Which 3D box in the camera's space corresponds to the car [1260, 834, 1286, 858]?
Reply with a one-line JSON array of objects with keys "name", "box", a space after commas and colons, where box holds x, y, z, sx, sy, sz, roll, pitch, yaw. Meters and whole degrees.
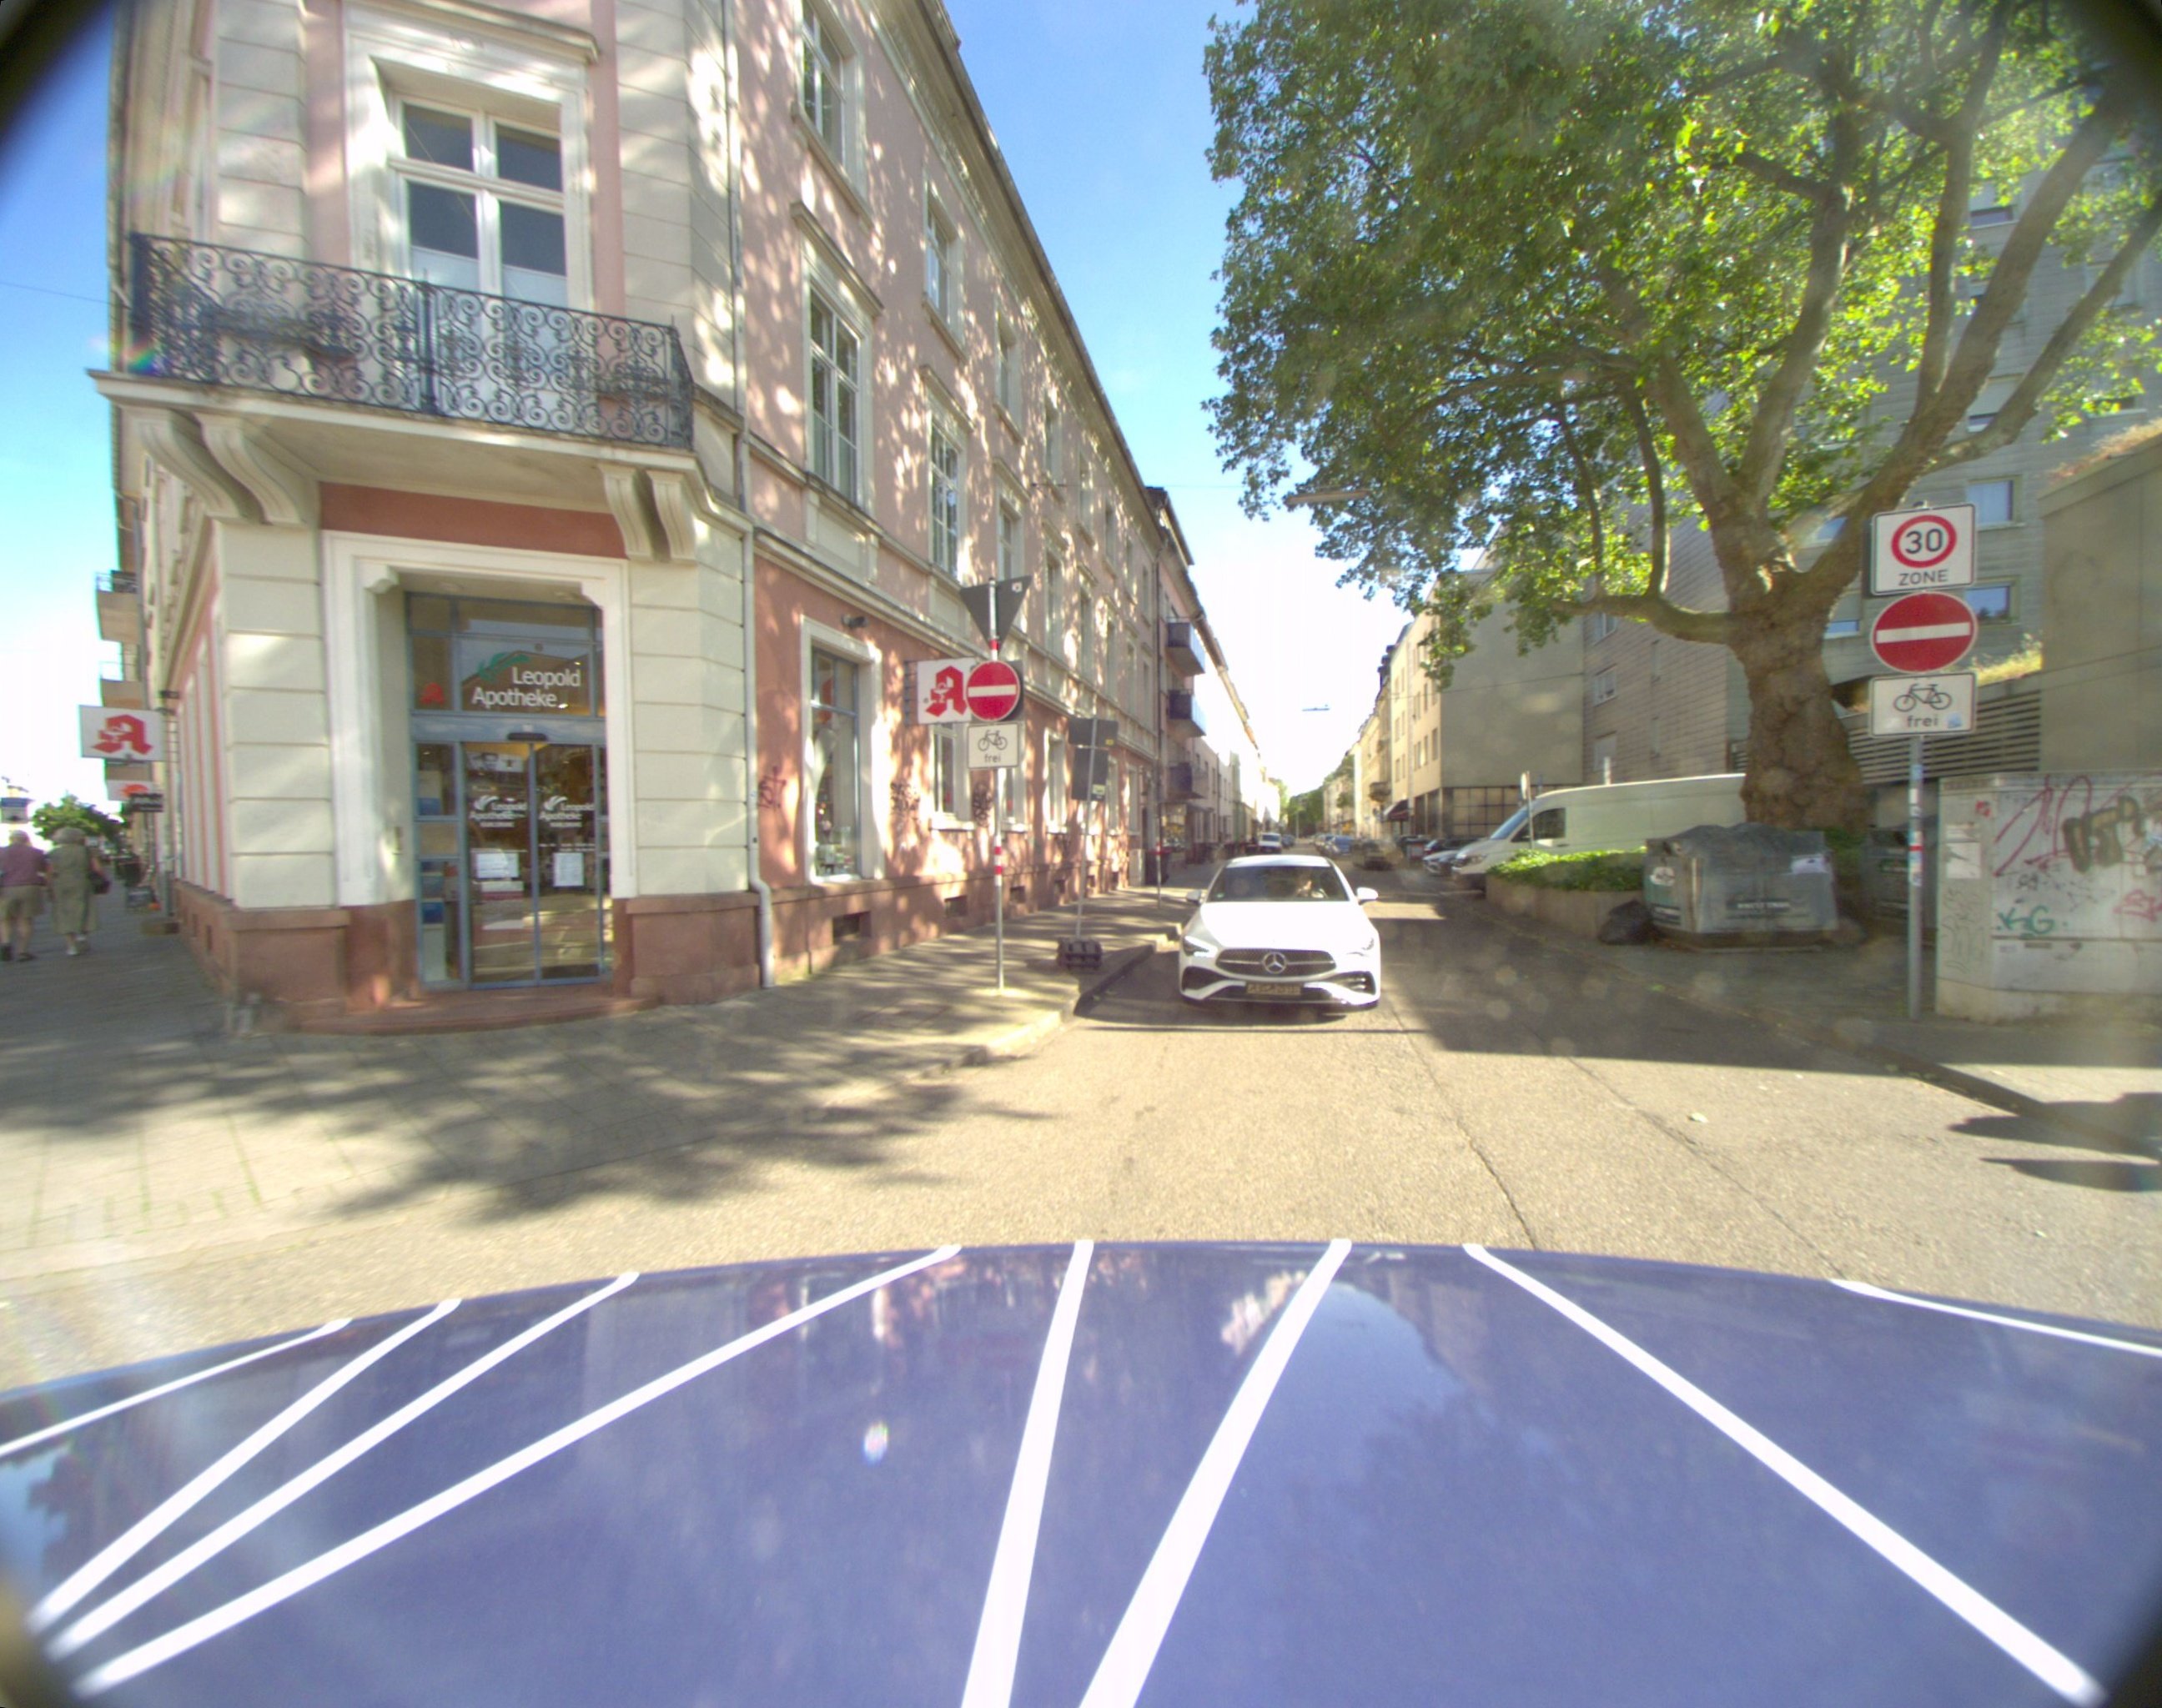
[{"name": "car", "box": [15.591, -0.670, 61.559, 1.763, 1.843, 4.332, 0, 1, 17]}]

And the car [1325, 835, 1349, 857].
[{"name": "car", "box": [20.826, -0.654, 61.887, 1.763, 1.698, 4.332, 0, 1, 17]}]

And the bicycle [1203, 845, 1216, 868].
[{"name": "bicycle", "box": [6.653, 0.134, 39.335, 0.402, 1.144, 2.027, 0, 2, 17]}]

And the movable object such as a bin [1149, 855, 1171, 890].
[{"name": "movable object such as a bin", "box": [2.495, 0.564, 23.999, 0.570, 1.053, 0.612, 3, 3, 15]}]

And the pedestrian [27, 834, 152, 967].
[{"name": "pedestrian", "box": [-14.113, 0.642, 10.826, 0.750, 1.755, 0.831, -2, 5, 33]}]

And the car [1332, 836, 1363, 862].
[{"name": "car", "box": [17.783, -0.365, 50.790, 1.763, 1.699, 4.332, 0, 1, 17]}]

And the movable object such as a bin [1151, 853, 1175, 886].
[{"name": "movable object such as a bin", "box": [2.812, 0.517, 26.054, 0.717, 1.078, 0.619, 3, 3, 15]}]

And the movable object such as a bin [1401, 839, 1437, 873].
[{"name": "movable object such as a bin", "box": [15.208, 0.064, 34.213, 1.327, 1.492, 1.196, 0, 2, 14]}]

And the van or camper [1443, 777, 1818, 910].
[{"name": "van or camper", "box": [12.702, -0.167, 18.237, 6.914, 2.559, 2.002, -4, 0, 17]}]

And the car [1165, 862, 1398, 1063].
[{"name": "car", "box": [2.306, 0.910, 8.507, 1.859, 1.449, 4.567, -1, 1, 17]}]

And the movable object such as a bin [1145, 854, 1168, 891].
[{"name": "movable object such as a bin", "box": [2.332, 0.557, 23.381, 0.570, 1.078, 0.655, 3, 3, 15]}]

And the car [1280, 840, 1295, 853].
[{"name": "car", "box": [26.724, -0.999, 98.200, 1.763, 1.698, 4.332, 0, 1, 16]}]

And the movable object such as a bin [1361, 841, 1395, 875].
[{"name": "movable object such as a bin", "box": [13.763, 0.176, 35.257, 1.239, 1.492, 1.879, 0, 2, 14]}]

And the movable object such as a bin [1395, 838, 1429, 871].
[{"name": "movable object such as a bin", "box": [15.490, 0.009, 35.603, 1.220, 1.492, 1.519, 0, 2, 14]}]

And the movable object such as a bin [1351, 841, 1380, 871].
[{"name": "movable object such as a bin", "box": [14.496, 0.081, 38.727, 1.220, 1.492, 1.561, 0, 2, 14]}]

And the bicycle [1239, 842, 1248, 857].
[{"name": "bicycle", "box": [12.013, -0.360, 56.089, 0.489, 1.090, 1.935, 0, 2, 17]}]

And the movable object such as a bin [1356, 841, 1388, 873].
[{"name": "movable object such as a bin", "box": [14.112, 0.113, 36.961, 1.245, 1.492, 1.927, 0, 2, 14]}]

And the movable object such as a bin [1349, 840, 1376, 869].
[{"name": "movable object such as a bin", "box": [14.913, 0.014, 40.290, 1.220, 1.492, 1.561, 0, 2, 14]}]

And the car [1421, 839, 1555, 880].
[{"name": "car", "box": [16.128, 0.210, 30.320, 4.411, 1.524, 1.700, -1, 1, 11]}]

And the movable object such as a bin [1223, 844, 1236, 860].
[{"name": "movable object such as a bin", "box": [9.560, -0.138, 48.994, 0.715, 0.997, 0.547, 3, 3, 15]}]

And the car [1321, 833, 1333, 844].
[{"name": "car", "box": [41.316, -2.623, 127.719, 1.763, 1.698, 4.332, 0, 1, 16]}]

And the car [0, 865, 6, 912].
[{"name": "car", "box": [-34.356, 1.087, 23.099, 3.628, 1.425, 1.711, 2, 0, 39]}]

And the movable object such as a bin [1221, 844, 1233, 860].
[{"name": "movable object such as a bin", "box": [9.307, -0.145, 48.449, 0.715, 0.997, 0.547, 3, 3, 15]}]

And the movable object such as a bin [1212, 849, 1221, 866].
[{"name": "movable object such as a bin", "box": [7.445, 0.185, 41.736, 0.415, 0.935, 0.302, 3, 3, 15]}]

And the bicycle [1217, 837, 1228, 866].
[{"name": "bicycle", "box": [8.737, -0.183, 46.758, 0.402, 1.726, 2.109, 0, 2, 17]}]

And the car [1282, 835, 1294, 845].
[{"name": "car", "box": [33.433, -2.265, 122.770, 1.763, 1.698, 4.332, 0, 1, 16]}]

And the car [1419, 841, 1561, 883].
[{"name": "car", "box": [15.137, 0.297, 28.338, 4.411, 1.454, 1.600, -1, 2, 11]}]

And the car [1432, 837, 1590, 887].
[{"name": "car", "box": [14.615, 0.270, 26.074, 4.411, 1.607, 1.700, -1, 1, 11]}]

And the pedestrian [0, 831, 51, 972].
[{"name": "pedestrian", "box": [-14.544, 0.635, 10.236, 0.705, 1.847, 0.572, 0, 5, 29]}]
